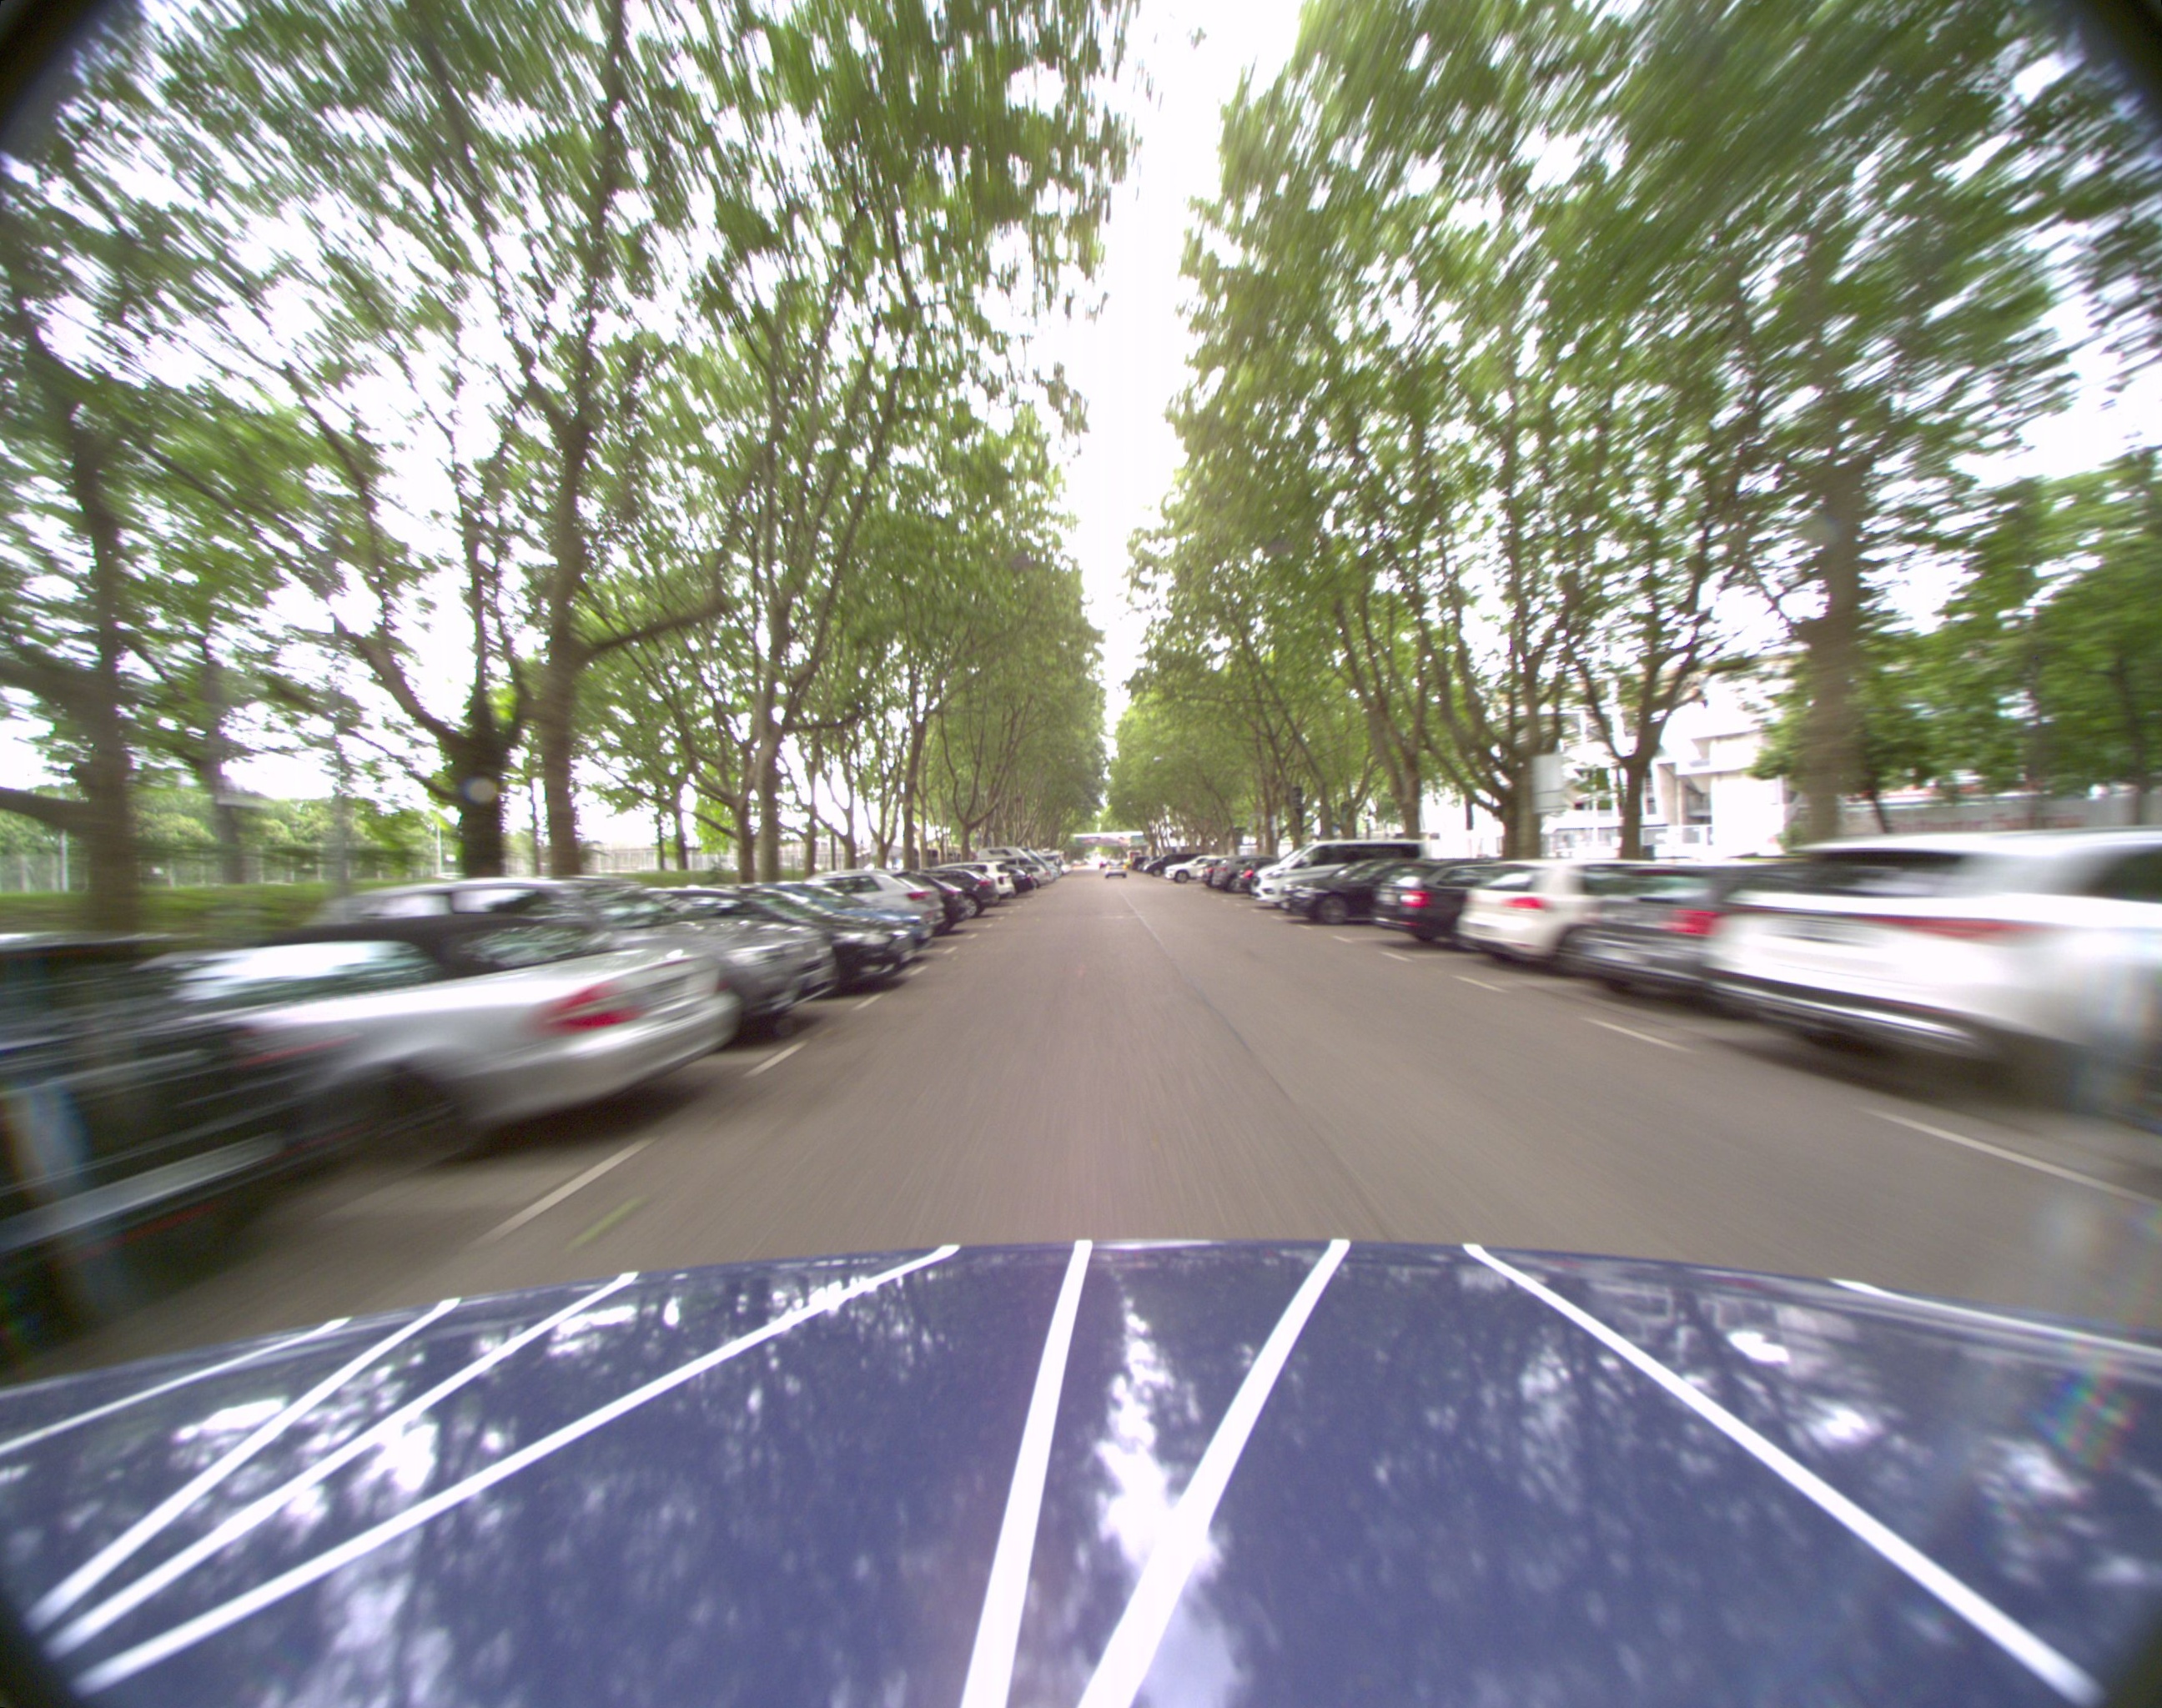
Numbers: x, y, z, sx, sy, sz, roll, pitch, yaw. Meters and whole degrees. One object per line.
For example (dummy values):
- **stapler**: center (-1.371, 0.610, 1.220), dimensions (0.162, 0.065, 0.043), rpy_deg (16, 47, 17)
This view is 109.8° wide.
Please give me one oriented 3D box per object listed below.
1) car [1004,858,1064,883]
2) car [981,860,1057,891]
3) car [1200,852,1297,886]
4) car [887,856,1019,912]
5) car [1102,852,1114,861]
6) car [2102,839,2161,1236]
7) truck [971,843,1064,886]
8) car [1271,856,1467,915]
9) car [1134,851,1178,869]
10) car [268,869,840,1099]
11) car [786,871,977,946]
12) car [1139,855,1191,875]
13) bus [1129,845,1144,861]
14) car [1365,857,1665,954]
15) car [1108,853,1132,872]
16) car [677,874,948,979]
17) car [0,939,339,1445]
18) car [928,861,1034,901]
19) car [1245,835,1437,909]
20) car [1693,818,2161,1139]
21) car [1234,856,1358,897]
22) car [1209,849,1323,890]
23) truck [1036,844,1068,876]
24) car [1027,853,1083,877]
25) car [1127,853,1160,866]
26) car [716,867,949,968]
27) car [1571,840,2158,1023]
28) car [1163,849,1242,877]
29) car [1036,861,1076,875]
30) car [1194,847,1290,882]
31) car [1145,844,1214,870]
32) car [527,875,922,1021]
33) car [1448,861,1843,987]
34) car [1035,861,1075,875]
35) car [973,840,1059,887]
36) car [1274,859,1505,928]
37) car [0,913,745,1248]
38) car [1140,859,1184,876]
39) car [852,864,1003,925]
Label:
- **car**: center (-3.646, 1.278, 59.045), dimensions (4.350, 1.608, 1.804), rpy_deg (-4, 0, 4)
- **car**: center (-3.597, 1.251, 44.625), dimensions (4.129, 1.420, 1.703), rpy_deg (-5, 1, 3)
- **car**: center (7.550, 0.681, 34.492), dimensions (3.997, 1.467, 1.842), rpy_deg (0, 0, -1)
- **car**: center (-4.618, 1.082, 27.859), dimensions (4.394, 1.745, 1.801), rpy_deg (-3, 0, 4)
- **car**: center (4.507, 0.409, 128.635), dimensions (1.658, 1.356, 4.111), rpy_deg (0, 0, -2)
- **car**: center (6.336, 0.718, 2.227), dimensions (4.077, 1.598, 1.800), rpy_deg (-1, 0, 3)
- **truck**: center (-4.551, 0.770, 55.069), dimensions (6.308, 2.699, 2.098), rpy_deg (-3, 0, 3)
- **car**: center (7.397, 0.784, 19.821), dimensions (4.459, 1.444, 1.774), rpy_deg (0, 0, 0)
- **car**: center (8.684, 0.689, 88.634), dimensions (4.917, 1.913, 2.208), rpy_deg (-1, 0, 2)
- **car**: center (-4.641, 1.103, 7.135), dimensions (4.123, 1.660, 1.694), rpy_deg (-3, 0, 1)
- **car**: center (-4.443, 1.195, 17.315), dimensions (3.837, 1.380, 1.694), rpy_deg (-3, 0, -1)
- **car**: center (7.744, 0.995, 69.968), dimensions (4.663, 1.809, 1.807), rpy_deg (0, -1, 6)
- **bus**: center (11.393, -0.287, 157.253), dimensions (2.657, 3.136, 12.371), rpy_deg (1, 0, 3)
- **car**: center (6.911, 0.794, 12.384), dimensions (4.005, 1.462, 1.537), rpy_deg (0, 0, 1)
- **car**: center (3.148, 0.679, 61.585), dimensions (1.693, 1.462, 3.839), rpy_deg (-1, 0, -1)
- **car**: center (-4.373, 1.174, 12.599), dimensions (3.833, 1.447, 1.696), rpy_deg (-3, 0, 12)
- **car**: center (-5.282, 1.214, 2.657), dimensions (3.784, 1.461, 1.624), rpy_deg (-3, 0, 2)
- **car**: center (-4.457, 1.189, 34.308), dimensions (4.514, 1.517, 1.703), rpy_deg (-3, 0, -1)
- **car**: center (7.426, 0.486, 22.007), dimensions (4.907, 2.007, 1.919), rpy_deg (0, 0, -2)
- **car**: center (6.617, 0.619, 4.882), dimensions (3.837, 1.618, 1.952), rpy_deg (-1, 0, -2)
- **car**: center (7.695, 0.784, 27.468), dimensions (3.996, 1.405, 1.683), rpy_deg (0, 0, 2)
- **car**: center (7.766, 0.630, 32.202), dimensions (4.351, 1.658, 2.000), rpy_deg (0, 0, -1)
- **truck**: center (-3.011, 0.622, 77.720), dimensions (2.466, 2.920, 7.533), rpy_deg (-3, 0, -7)
- **car**: center (-3.413, 1.425, 98.462), dimensions (6.904, 2.679, 2.125), rpy_deg (-3, 0, -11)
- **car**: center (8.870, 0.779, 107.966), dimensions (4.526, 1.608, 1.758), rpy_deg (-2, 0, 3)
- **car**: center (-4.647, 1.170, 14.627), dimensions (3.837, 1.598, 1.694), rpy_deg (-3, 0, -1)
- **car**: center (7.052, 0.634, 7.130), dimensions (3.837, 1.463, 1.694), rpy_deg (-1, 0, -2)
- **car**: center (7.167, 0.546, 45.200), dimensions (4.391, 1.587, 2.000), rpy_deg (0, 0, -1)
- **car**: center (-2.969, 1.679, 89.845), dimensions (4.378, 1.437, 1.609), rpy_deg (-3, 0, -24)
- **car**: center (7.912, 0.522, 37.635), dimensions (4.351, 1.658, 2.000), rpy_deg (0, 0, -1)
- **car**: center (8.192, 0.299, 63.489), dimensions (5.449, 2.115, 1.940), rpy_deg (0, 0, 0)
- **car**: center (-4.353, 1.131, 9.735), dimensions (4.222, 1.443, 1.610), rpy_deg (-3, 0, -1)
- **car**: center (7.121, 0.837, 9.908), dimensions (3.765, 1.466, 1.864), rpy_deg (0, 0, 0)
- **car**: center (-2.899, 1.532, 84.880), dimensions (4.330, 1.294, 1.700), rpy_deg (-3, 0, 2)
- **car**: center (-4.205, 0.630, 49.812), dimensions (5.241, 2.673, 1.957), rpy_deg (-4, 0, 2)
- **car**: center (6.736, 0.851, 16.983), dimensions (4.458, 1.444, 1.775), rpy_deg (0, 0, 5)
- **car**: center (-4.605, 1.280, 4.807), dimensions (4.123, 1.461, 1.694), rpy_deg (-3, 0, 1)
- **car**: center (8.600, 1.425, 80.968), dimensions (4.589, 1.771, 1.798), rpy_deg (0, -1, 3)
- **car**: center (-4.429, 1.155, 22.343), dimensions (3.997, 1.477, 1.694), rpy_deg (-3, 0, -1)
